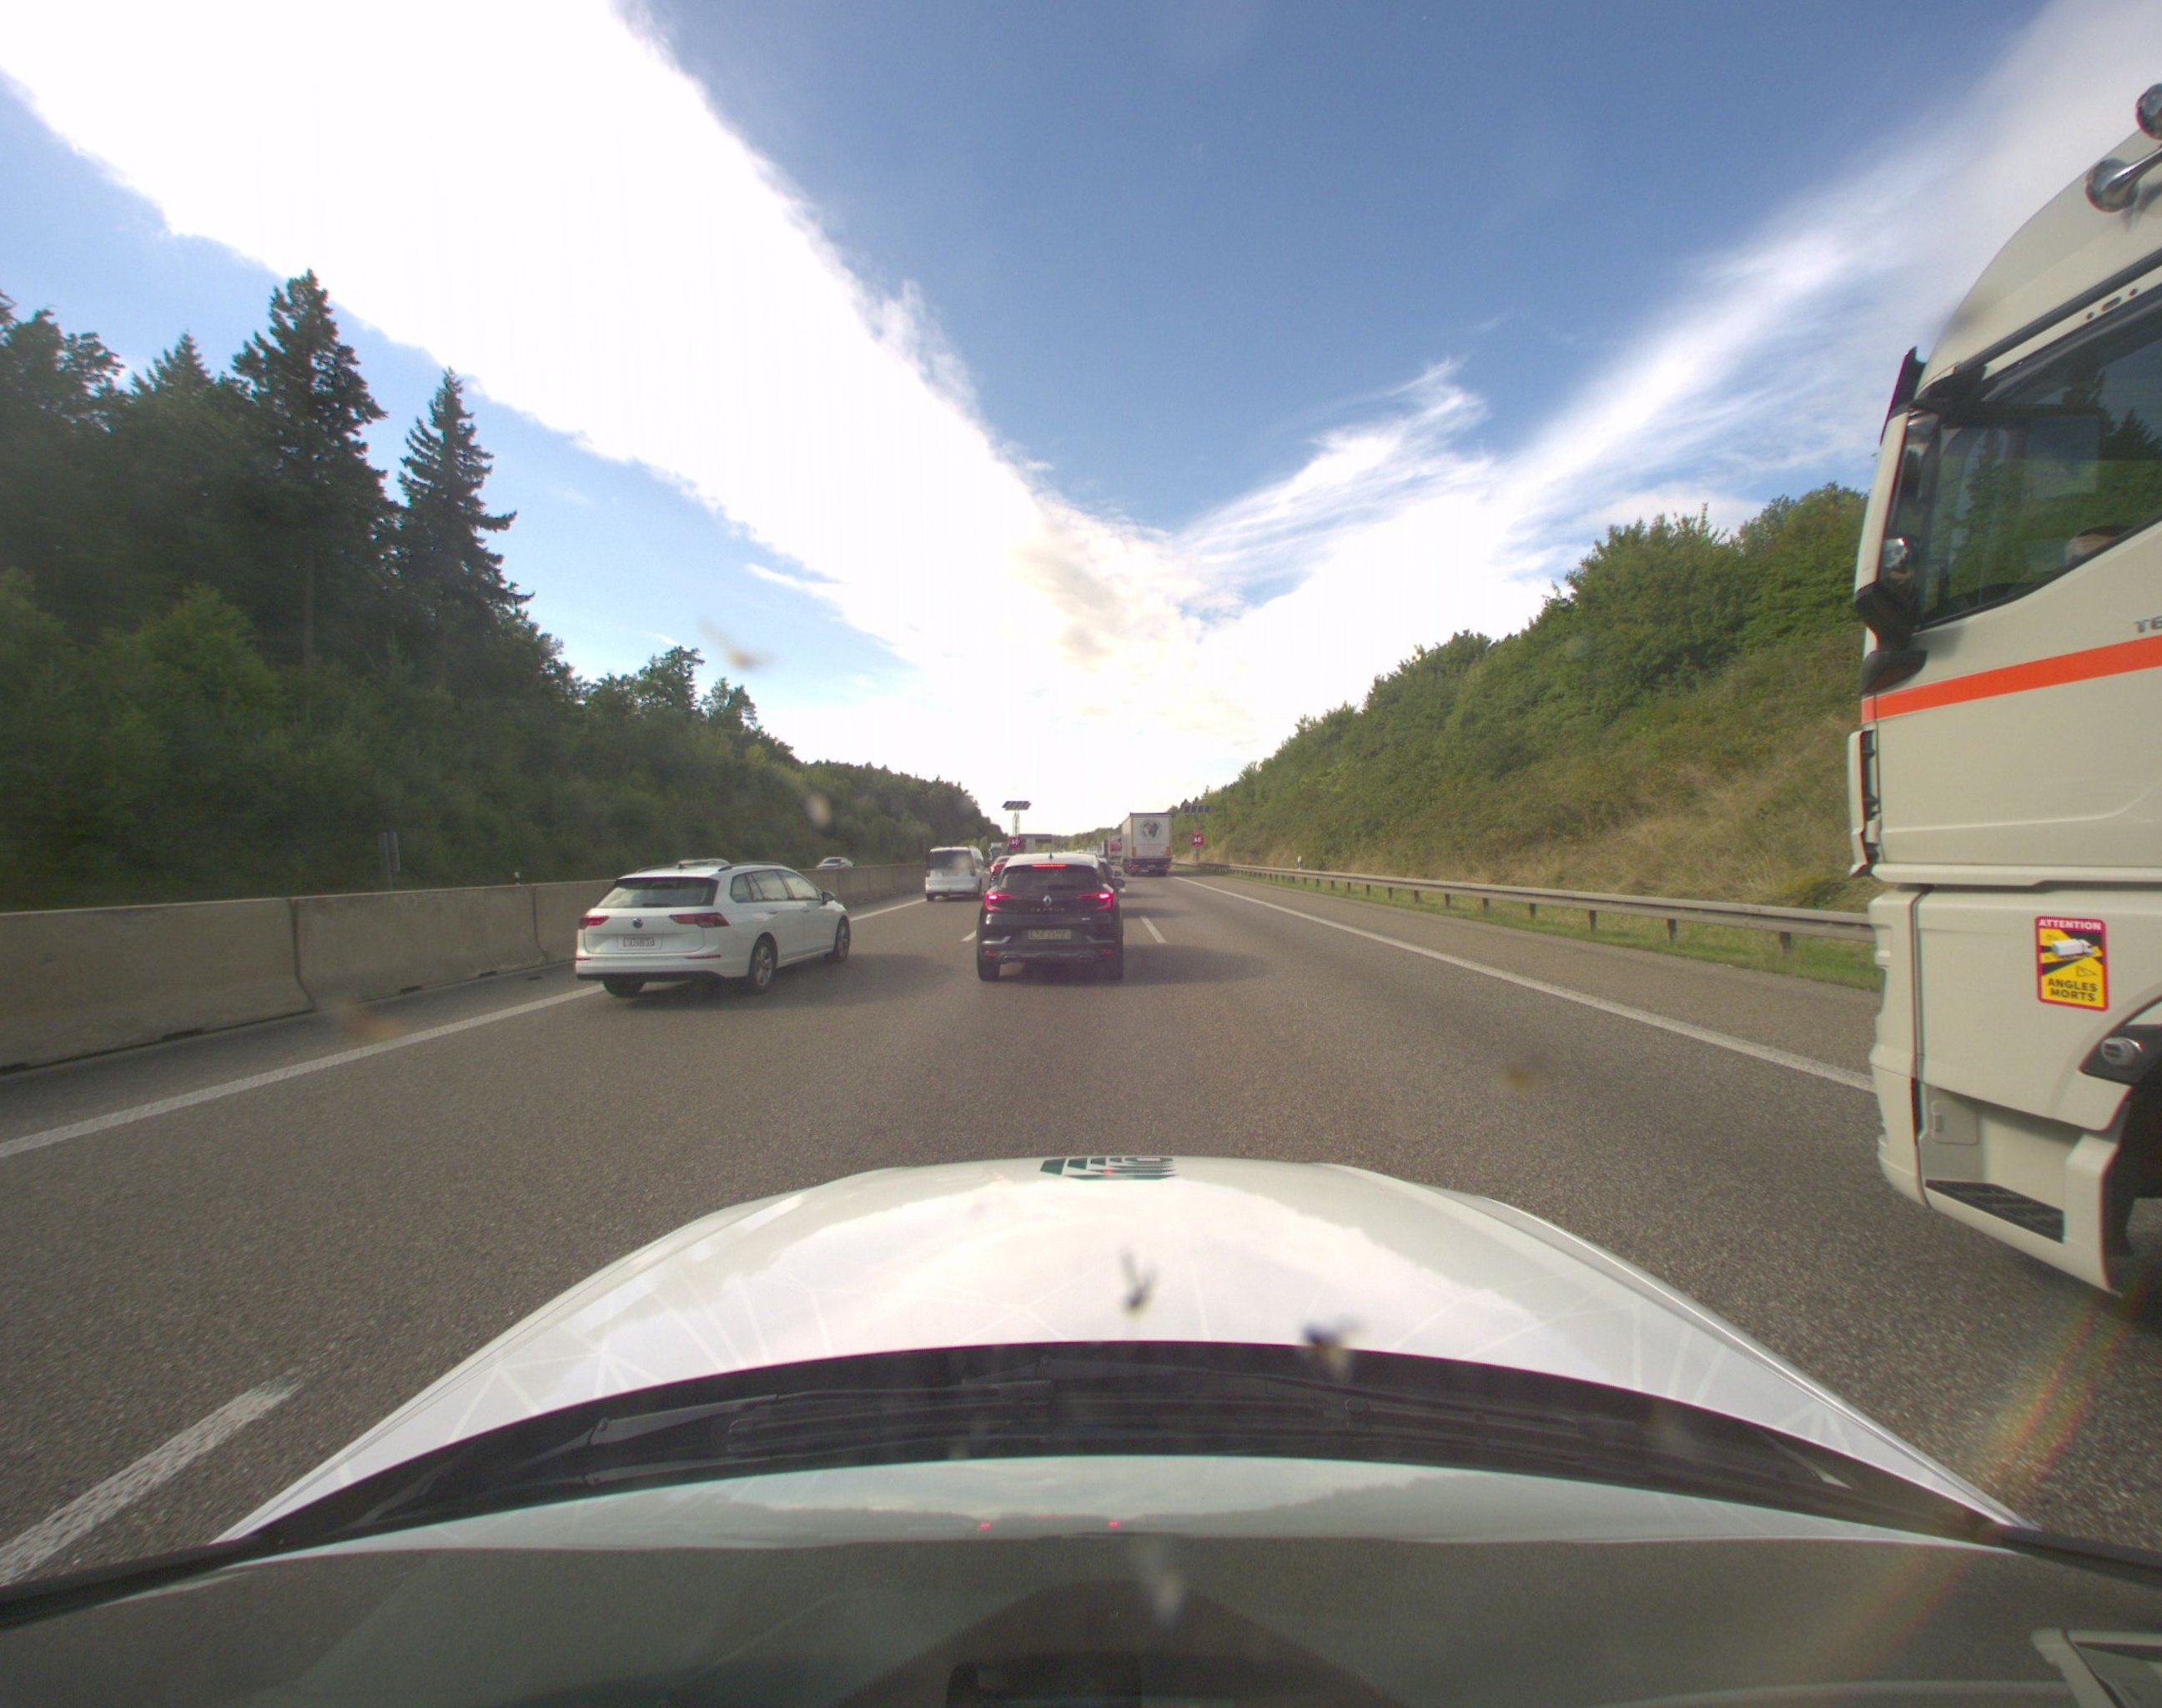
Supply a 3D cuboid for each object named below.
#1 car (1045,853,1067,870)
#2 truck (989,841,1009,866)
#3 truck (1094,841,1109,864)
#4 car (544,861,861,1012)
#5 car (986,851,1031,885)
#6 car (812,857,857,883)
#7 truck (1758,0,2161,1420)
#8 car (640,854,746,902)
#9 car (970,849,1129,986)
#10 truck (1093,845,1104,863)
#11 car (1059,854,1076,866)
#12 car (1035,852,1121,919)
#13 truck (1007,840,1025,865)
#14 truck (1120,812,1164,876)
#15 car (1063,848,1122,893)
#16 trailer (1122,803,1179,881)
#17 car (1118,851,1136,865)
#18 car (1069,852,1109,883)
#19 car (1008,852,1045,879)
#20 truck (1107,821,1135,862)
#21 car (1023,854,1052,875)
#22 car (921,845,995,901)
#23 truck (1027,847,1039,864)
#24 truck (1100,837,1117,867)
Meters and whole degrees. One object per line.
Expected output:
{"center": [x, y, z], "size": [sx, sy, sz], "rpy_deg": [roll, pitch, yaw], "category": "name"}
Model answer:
{"center": [-2.464, 0.707, 82.099], "size": [1.986, 1.613, 4.002], "rpy_deg": [-1, 0, 2], "category": "car"}
{"center": [-17.610, -0.141, 175.671], "size": [2.880, 5.093, 10.082], "rpy_deg": [-1, 0, 1], "category": "truck"}
{"center": [5.062, -0.234, 201.670], "size": [3.153, 5.505, 12.748], "rpy_deg": [-1, -1, 4], "category": "truck"}
{"center": [-4.330, 0.833, 10.207], "size": [1.797, 1.461, 4.311], "rpy_deg": [-1, 0, 2], "category": "car"}
{"center": [-3.755, 0.719, 42.680], "size": [1.848, 1.641, 3.927], "rpy_deg": [-1, -1, 2], "category": "car"}
{"center": [-18.561, 1.164, 61.571], "size": [1.845, 1.810, 4.925], "rpy_deg": [-1, 0, 1], "category": "car"}
{"center": [4.011, -0.621, 0.253], "size": [2.792, 4.043, 5.907], "rpy_deg": [-1, 0, 2], "category": "truck"}
{"center": [-15.612, 0.903, 33.086], "size": [1.845, 1.810, 4.925], "rpy_deg": [-1, 0, 1], "category": "car"}
{"center": [-0.249, 0.741, 11.397], "size": [1.797, 1.552, 4.004], "rpy_deg": [-1, 0, 4], "category": "car"}
{"center": [5.094, 0.039, 236.000], "size": [3.154, 5.159, 12.743], "rpy_deg": [-1, -1, 2], "category": "truck"}
{"center": [-1.781, 0.764, 105.460], "size": [1.986, 1.613, 4.002], "rpy_deg": [-1, 0, 2], "category": "car"}
{"center": [-0.006, 0.748, 20.814], "size": [1.986, 1.514, 4.001], "rpy_deg": [-1, -1, 2], "category": "car"}
{"center": [-13.522, -0.319, 170.196], "size": [2.880, 4.934, 10.082], "rpy_deg": [-1, 0, 1], "category": "truck"}
{"center": [4.683, -0.758, 63.644], "size": [2.986, 4.667, 5.940], "rpy_deg": [-1, 0, 1], "category": "truck"}
{"center": [0.447, 0.573, 29.525], "size": [1.986, 1.514, 4.001], "rpy_deg": [-1, -1, 2], "category": "car"}
{"center": [4.542, -0.737, 56.264], "size": [2.991, 4.661, 13.292], "rpy_deg": [-1, 0, 1], "category": "trailer"}
{"center": [5.122, 0.471, 90.654], "size": [1.798, 1.533, 3.925], "rpy_deg": [-1, -1, 0], "category": "car"}
{"center": [0.477, 0.686, 42.987], "size": [1.986, 1.514, 4.001], "rpy_deg": [-1, -1, 2], "category": "car"}
{"center": [-3.567, 0.738, 53.980], "size": [1.986, 1.722, 4.001], "rpy_deg": [-1, -1, 2], "category": "car"}
{"center": [5.141, -1.447, 106.638], "size": [3.352, 5.044, 12.743], "rpy_deg": [-1, -1, 2], "category": "truck"}
{"center": [-3.403, 0.823, 64.284], "size": [1.986, 1.613, 4.001], "rpy_deg": [-1, -1, 2], "category": "car"}
{"center": [-4.221, 0.647, 28.622], "size": [1.905, 1.789, 4.417], "rpy_deg": [-1, -1, 0], "category": "car"}
{"center": [-14.246, 0.457, 242.980], "size": [2.880, 5.093, 10.082], "rpy_deg": [-1, 0, 1], "category": "truck"}
{"center": [5.427, -0.367, 159.021], "size": [3.154, 5.505, 12.743], "rpy_deg": [-1, -1, 2], "category": "truck"}
